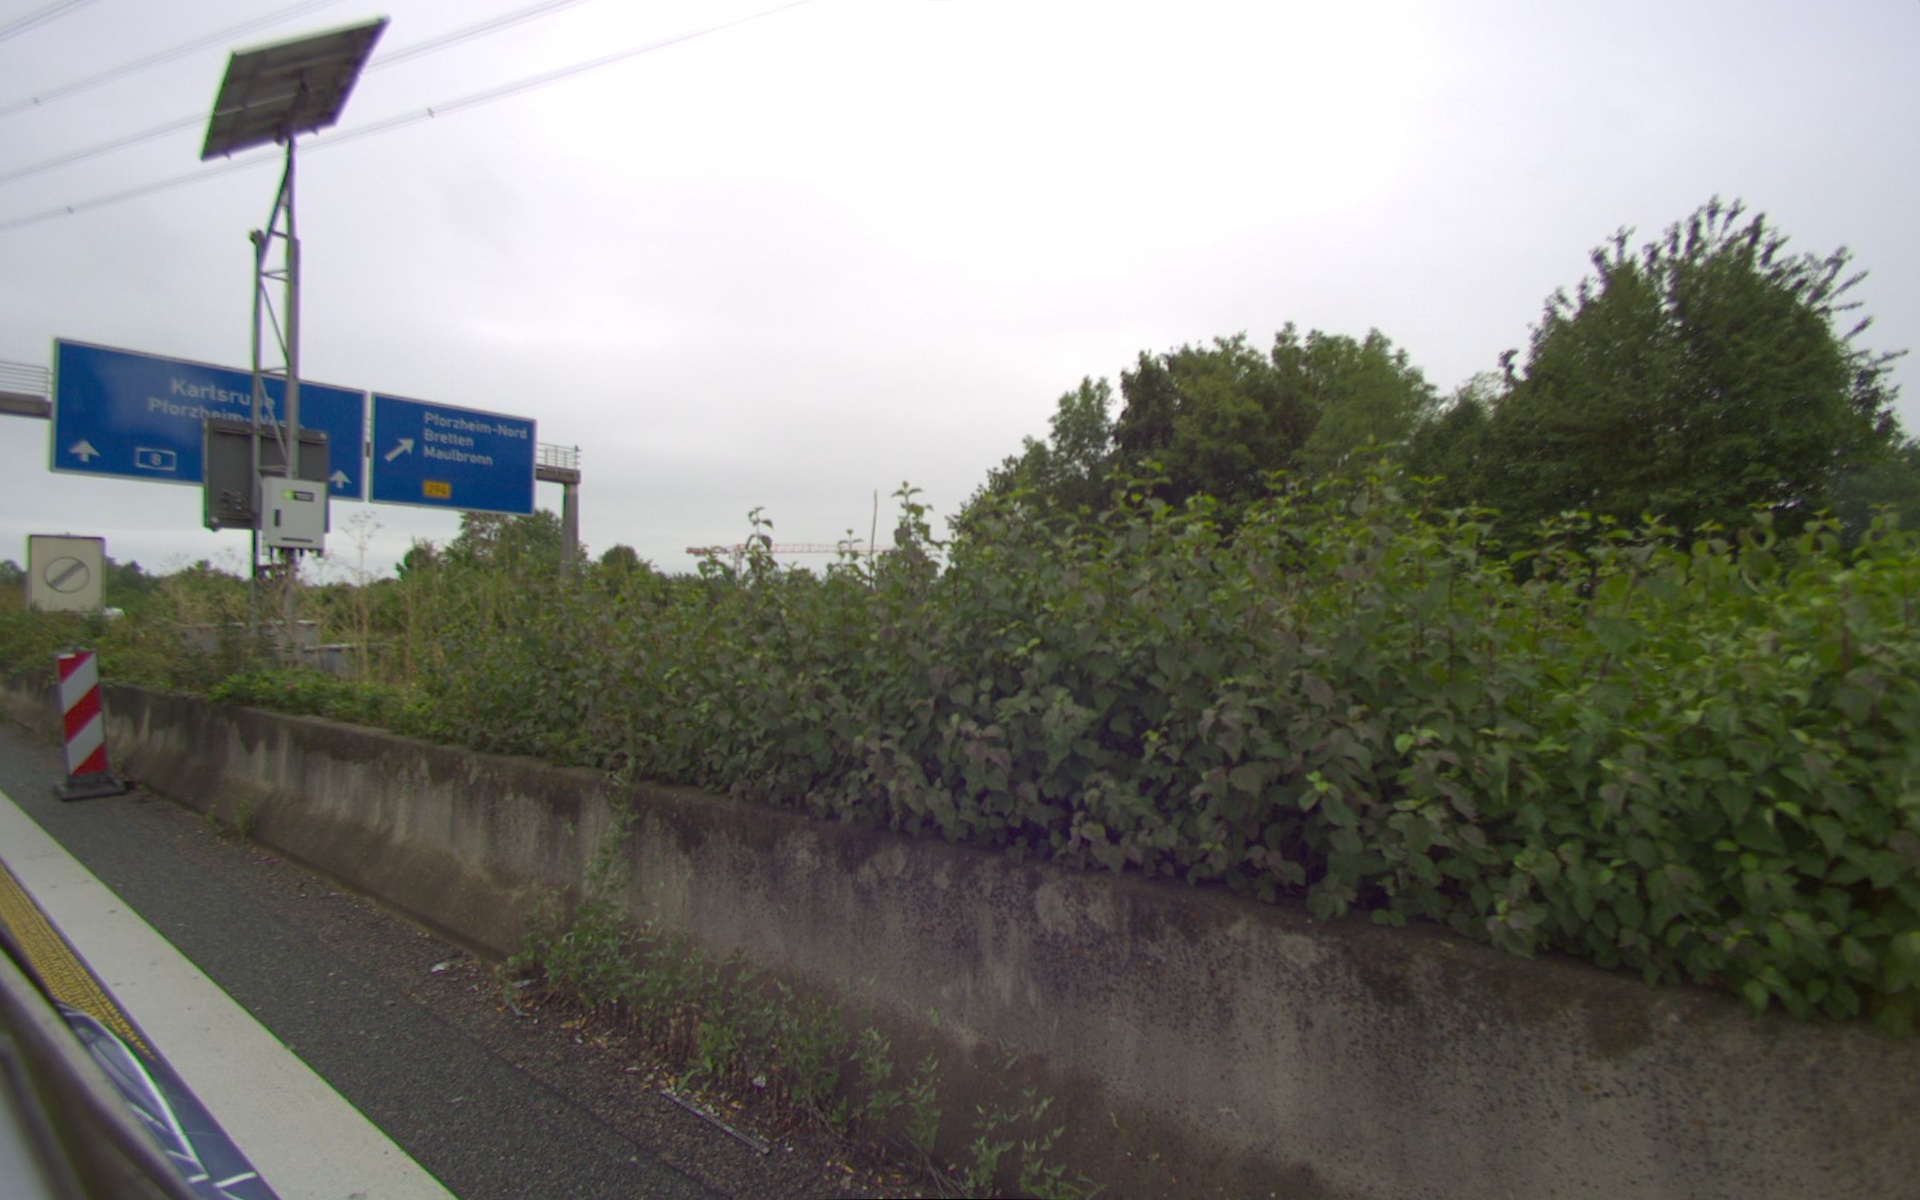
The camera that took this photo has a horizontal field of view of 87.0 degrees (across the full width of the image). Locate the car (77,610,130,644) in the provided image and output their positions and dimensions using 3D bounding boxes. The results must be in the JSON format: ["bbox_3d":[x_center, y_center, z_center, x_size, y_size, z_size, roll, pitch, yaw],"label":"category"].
[{"bbox_3d":[-61.400,1.923,72.529,5.201,2.282,2.157,-1,-1,41],"label":"car"}]

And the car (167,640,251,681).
[{"bbox_3d":[-30.887,2.448,41.588,3.998,1.539,1.973,-1,-1,41],"label":"car"}]
